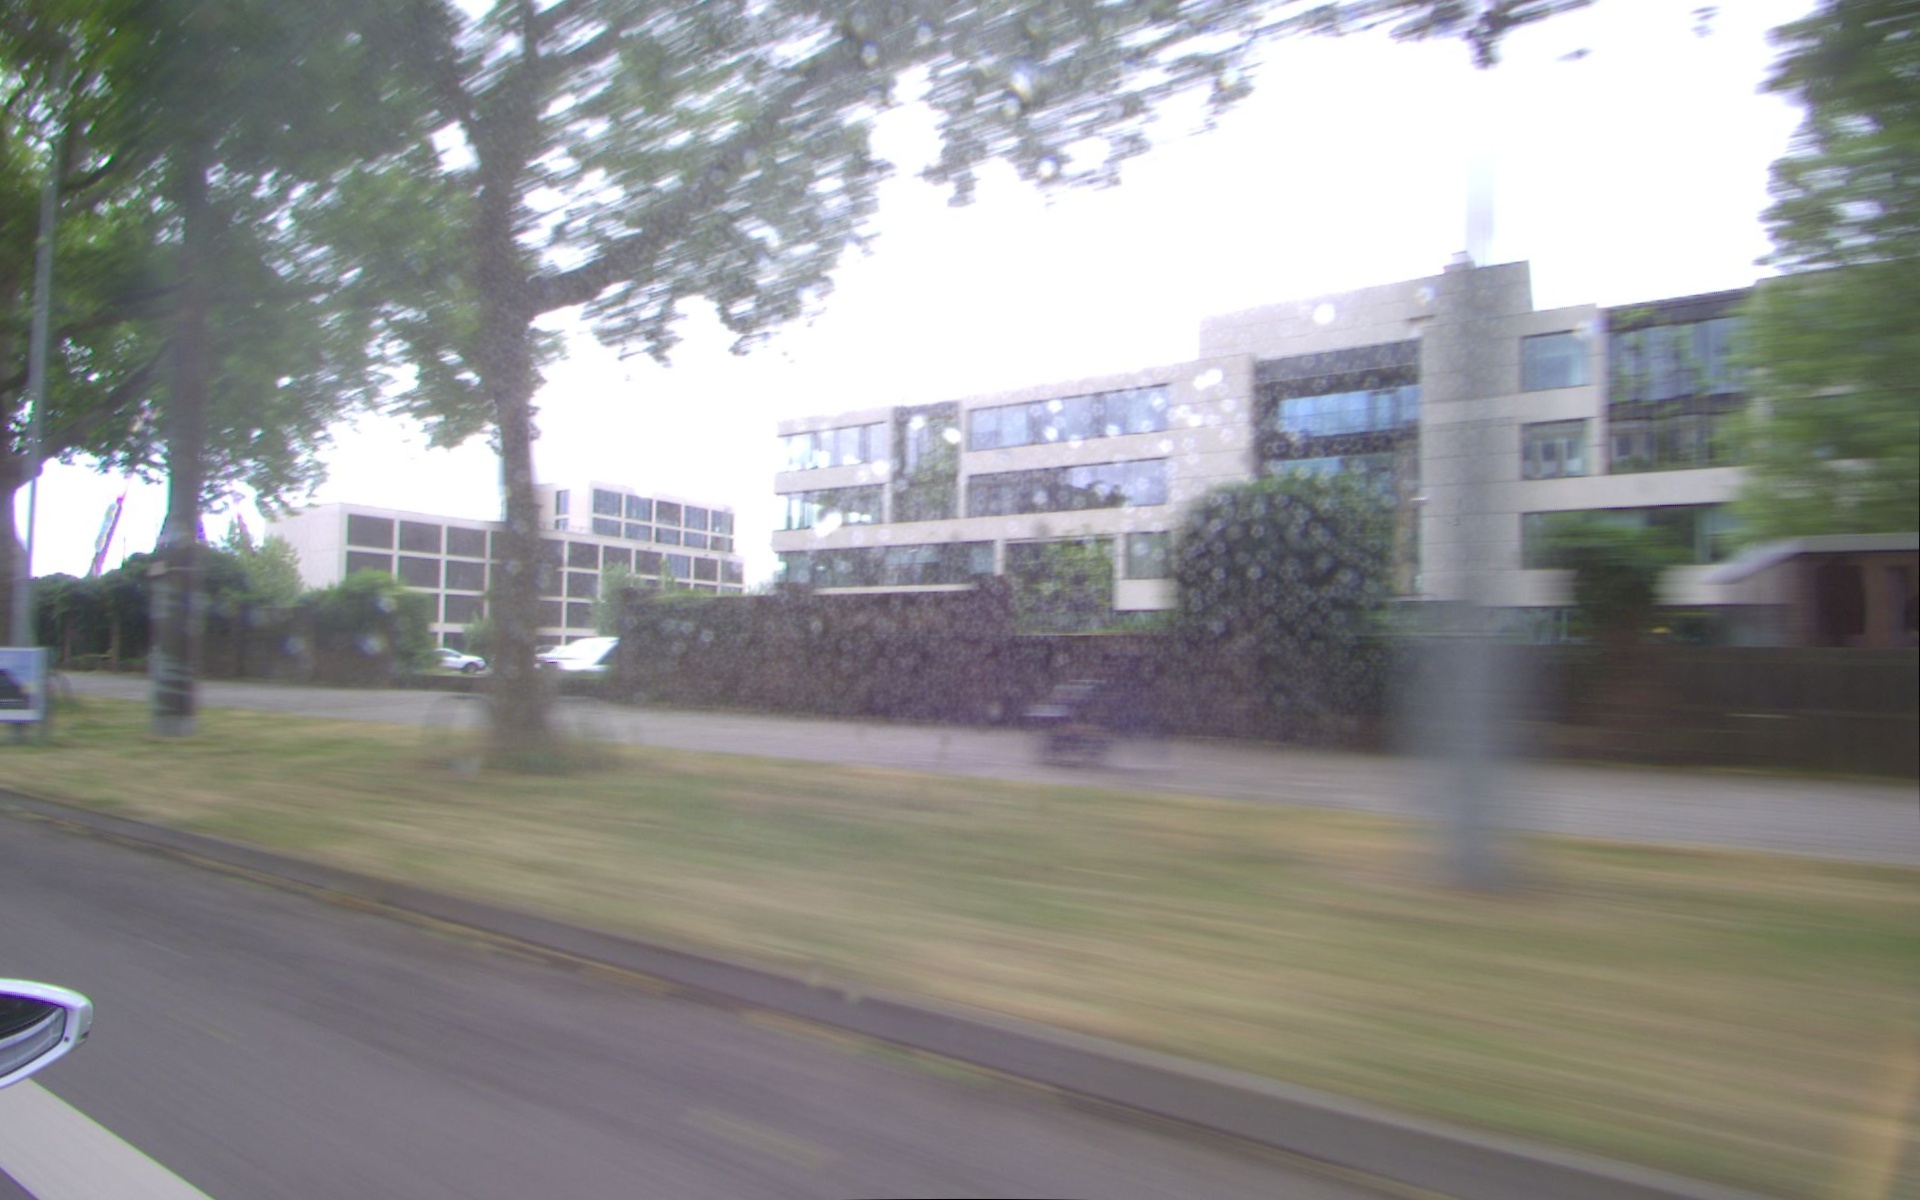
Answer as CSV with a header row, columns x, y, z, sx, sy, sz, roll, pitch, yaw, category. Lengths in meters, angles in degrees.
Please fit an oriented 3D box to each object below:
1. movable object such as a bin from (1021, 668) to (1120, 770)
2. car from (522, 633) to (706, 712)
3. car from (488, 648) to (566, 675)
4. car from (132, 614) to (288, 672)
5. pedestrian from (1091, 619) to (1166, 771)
x,y,z,sx,sy,sz,roll,pitch,yaw,category
1.324,1.401,12.027,1.002,1.126,0.609,0,-2,38,movable object such as a bin
-9.664,2.027,28.434,1.970,2.038,4.874,-1,-3,29,car
-25.920,3.681,60.004,3.950,1.615,1.987,3,-4,-35,car
-32.154,1.927,43.136,1.641,2.291,5.095,-1,-4,29,car
1.924,1.062,11.401,0.661,1.653,0.556,-1,-3,38,pedestrian
